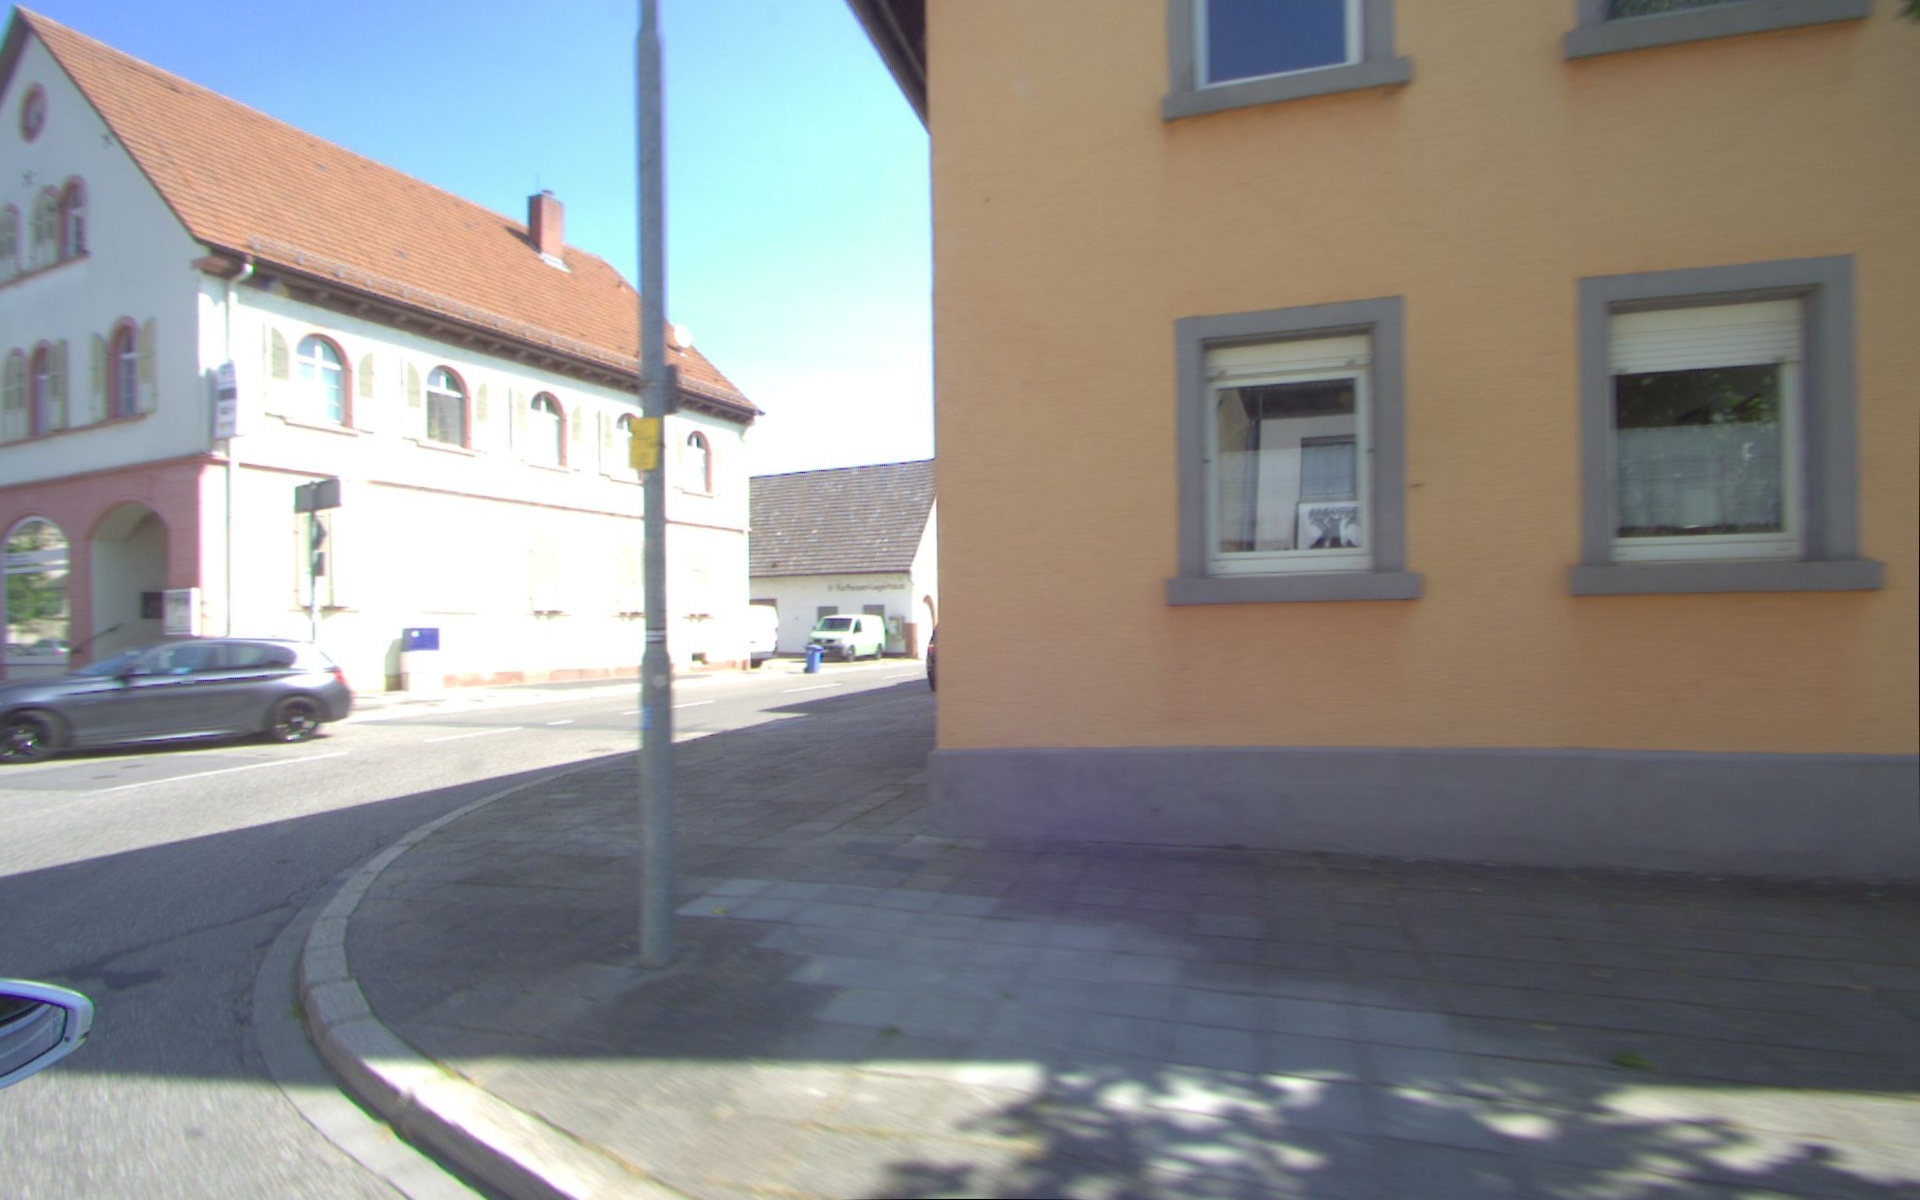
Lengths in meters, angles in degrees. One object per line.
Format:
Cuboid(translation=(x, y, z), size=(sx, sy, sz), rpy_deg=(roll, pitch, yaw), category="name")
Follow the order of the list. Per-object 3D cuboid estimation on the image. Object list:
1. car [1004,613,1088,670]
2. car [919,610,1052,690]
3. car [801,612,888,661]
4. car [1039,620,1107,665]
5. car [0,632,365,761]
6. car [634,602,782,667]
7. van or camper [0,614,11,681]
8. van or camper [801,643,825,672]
Cuboid(translation=(2.947, 1.352, 33.464), size=(1.870, 1.750, 4.243), rpy_deg=(0, -1, 18), category="car")
Cuboid(translation=(0.765, 1.183, 24.615), size=(1.818, 1.724, 5.173), rpy_deg=(-3, -2, 18), category="car")
Cuboid(translation=(-4.896, 1.548, 43.129), size=(1.965, 1.990, 4.662), rpy_deg=(-1, -1, 19), category="car")
Cuboid(translation=(4.416, 1.597, 38.582), size=(1.964, 1.638, 3.996), rpy_deg=(0, -2, 16), category="car")
Cuboid(translation=(-10.305, 1.124, 12.885), size=(1.719, 1.394, 4.241), rpy_deg=(-1, -2, 36), category="car")
Cuboid(translation=(-9.171, 1.231, 36.358), size=(5.112, 2.225, 2.114), rpy_deg=(0, -1, 28), category="car")
Cuboid(translation=(-31.233, 1.451, 29.862), size=(1.973, 2.039, 3.976), rpy_deg=(-1, -1, 35), category="van or camper")
Cuboid(translation=(-4.947, 1.929, 33.733), size=(0.581, 0.964, 0.598), rpy_deg=(0, -1, 23), category="van or camper")
